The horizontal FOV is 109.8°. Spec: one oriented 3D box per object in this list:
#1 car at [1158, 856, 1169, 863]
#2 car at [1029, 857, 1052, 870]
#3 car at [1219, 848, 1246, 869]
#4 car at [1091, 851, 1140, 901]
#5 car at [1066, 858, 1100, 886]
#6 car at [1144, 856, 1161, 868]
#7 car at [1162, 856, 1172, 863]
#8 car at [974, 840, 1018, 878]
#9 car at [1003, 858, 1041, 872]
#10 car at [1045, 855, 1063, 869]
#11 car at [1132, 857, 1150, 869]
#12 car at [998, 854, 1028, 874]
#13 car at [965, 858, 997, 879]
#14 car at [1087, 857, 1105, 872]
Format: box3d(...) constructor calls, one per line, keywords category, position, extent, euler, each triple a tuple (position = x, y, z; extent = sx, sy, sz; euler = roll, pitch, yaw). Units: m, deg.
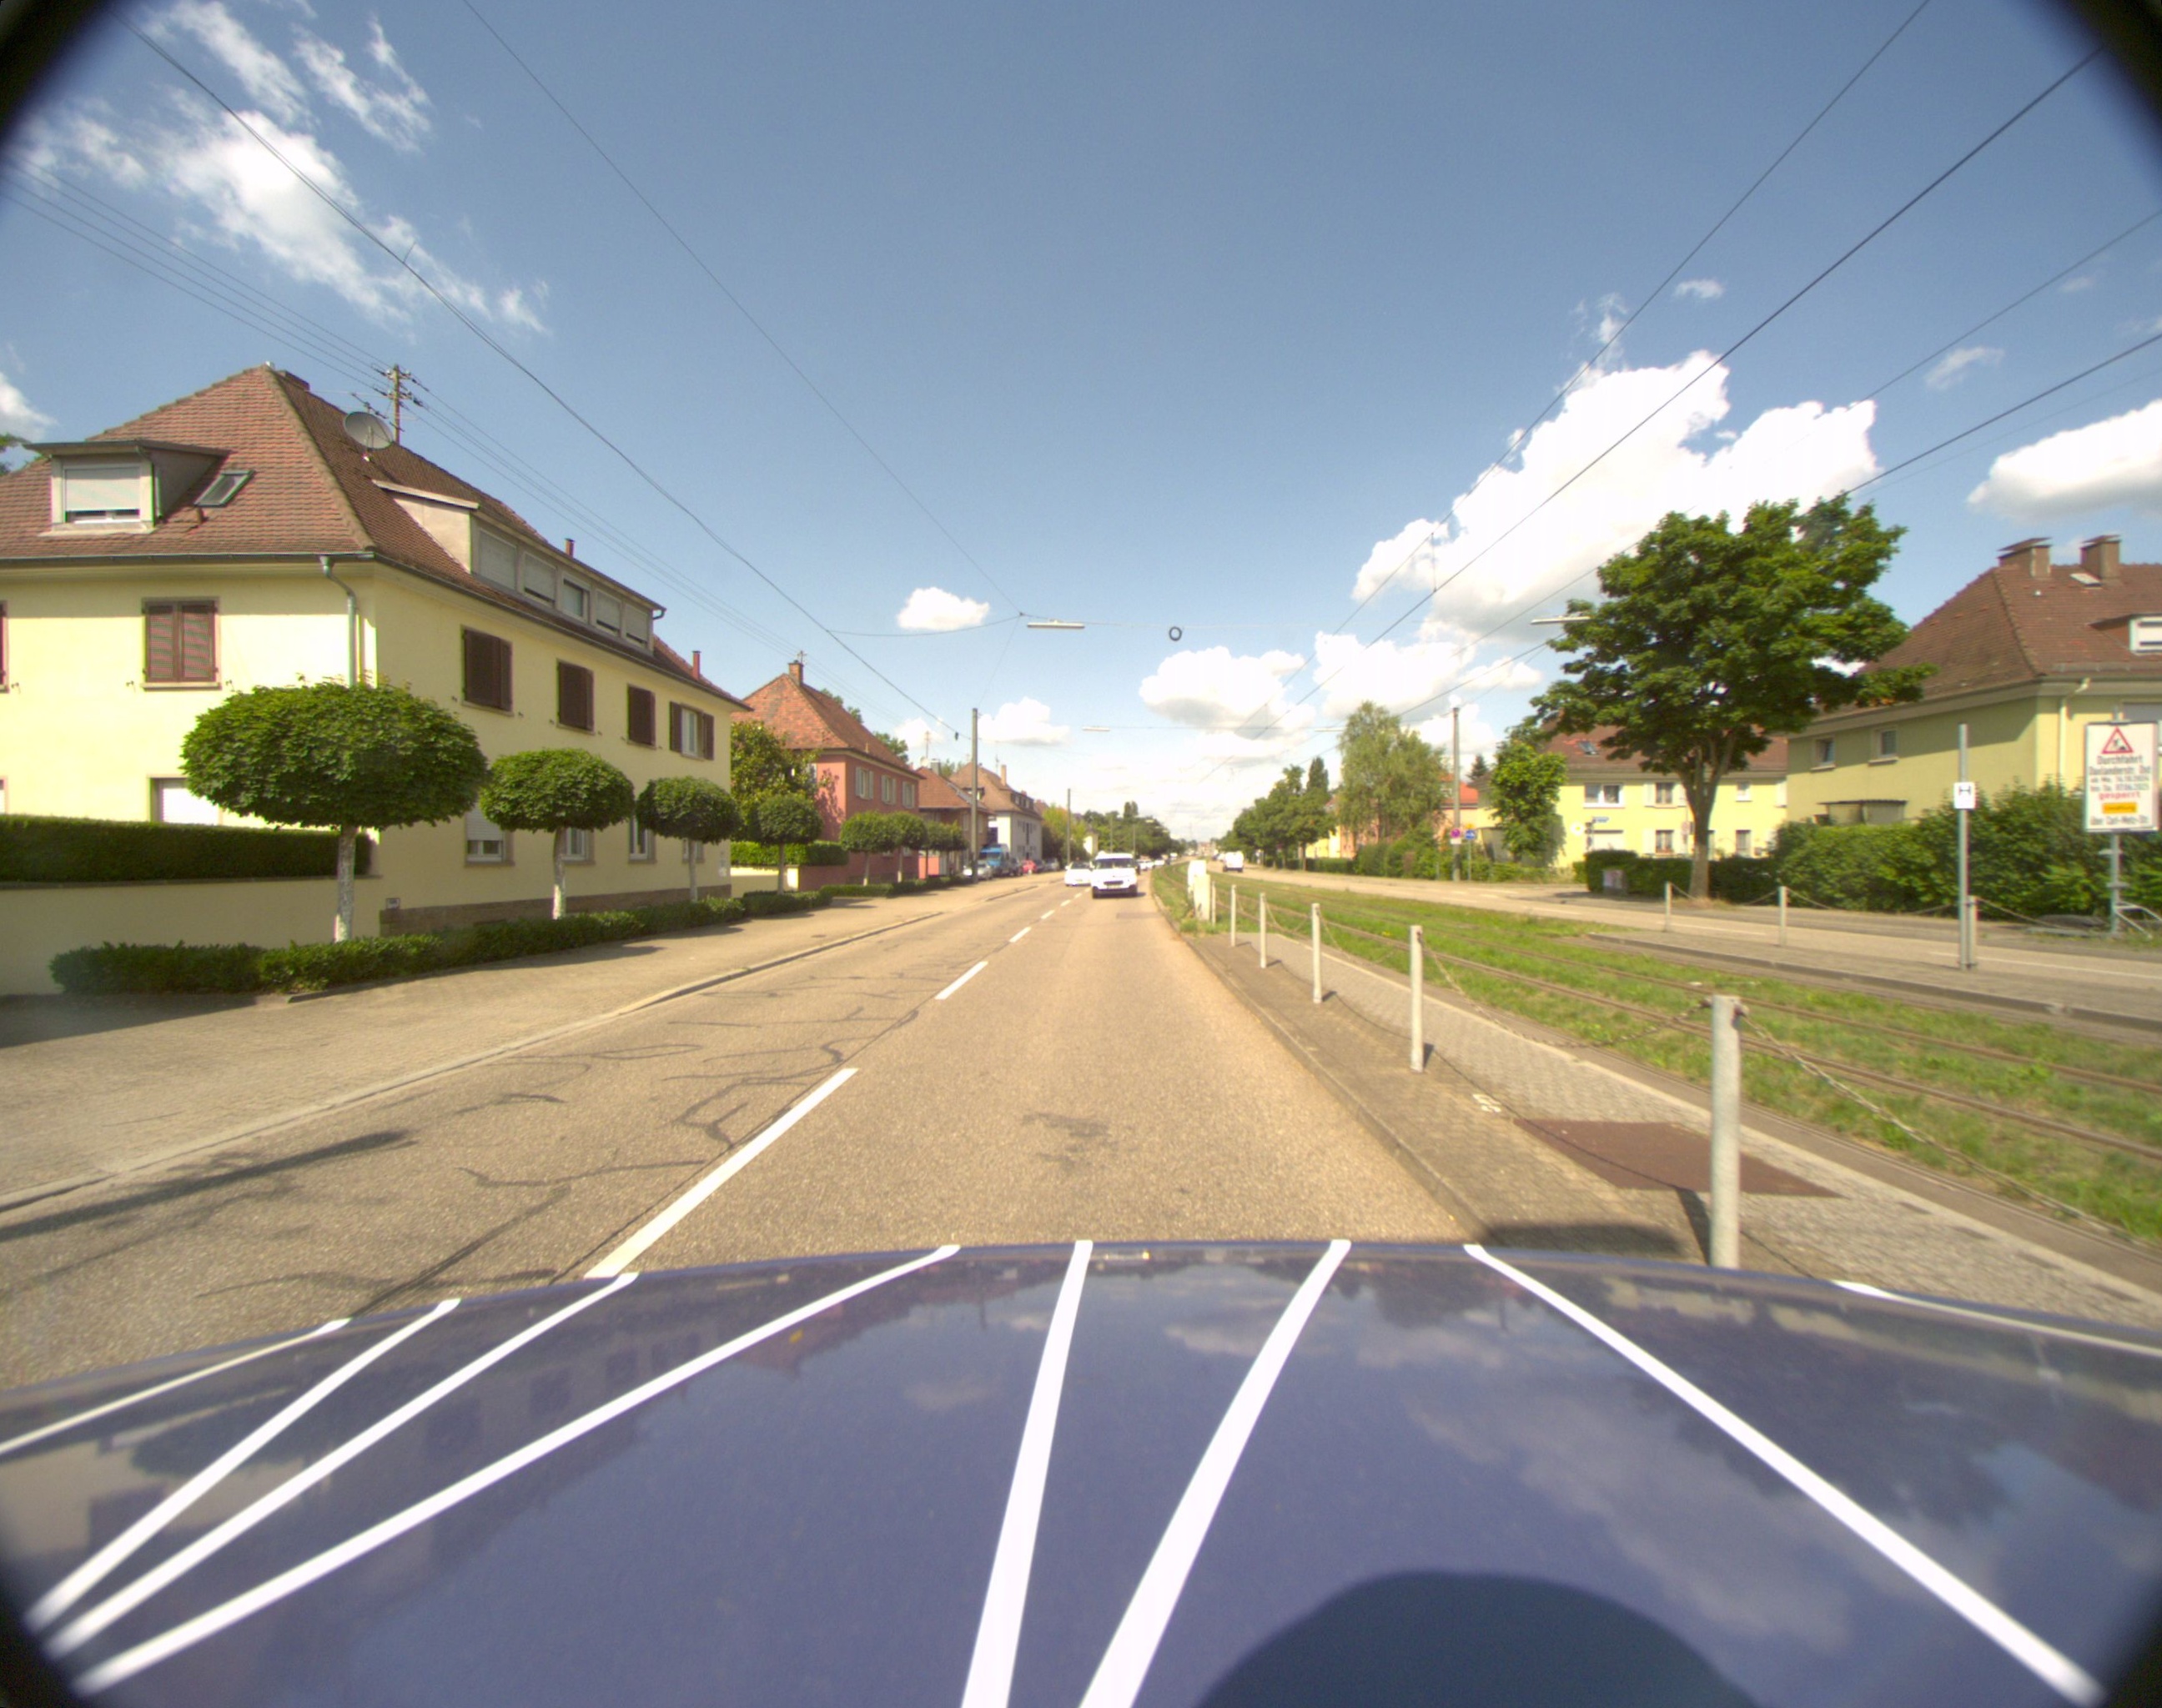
box3d(category="car", position=(16.755, 1.117, 154.330), extent=(1.997, 1.477, 4.002), euler=(-2, 0, 8))
box3d(category="car", position=(-4.491, 1.054, 84.339), extent=(1.802, 1.415, 4.859), euler=(1, 0, 6))
box3d(category="car", position=(17.938, 0.483, 90.092), extent=(2.201, 2.358, 5.333), euler=(1, 1, 2))
box3d(category="car", position=(1.453, 0.820, 30.783), extent=(1.777, 1.850, 4.376), euler=(-1, 0, 4))
box3d(category="car", position=(0.148, 1.086, 46.921), extent=(1.777, 1.540, 4.001), euler=(-2, 0, 4))
box3d(category="car", position=(10.230, 1.174, 108.318), extent=(1.997, 1.576, 4.002), euler=(-2, 0, 9))
box3d(category="car", position=(19.282, 1.160, 170.711), extent=(1.997, 1.477, 4.002), euler=(-2, 0, 8))
box3d(category="car", position=(-6.861, 0.337, 62.161), extent=(2.156, 2.913, 6.246), euler=(-2, 0, 6))
box3d(category="car", position=(-6.093, 1.144, 78.687), extent=(3.657, 1.372, 1.727), euler=(-1, 1, 4))
box3d(category="car", position=(-3.323, 0.978, 94.240), extent=(1.760, 1.637, 4.770), euler=(1, 1, 4))
box3d(category="car", position=(7.595, 1.111, 96.068), extent=(1.997, 1.477, 4.002), euler=(-2, 0, 8))
box3d(category="car", position=(-6.051, 0.900, 68.370), extent=(1.840, 1.701, 4.866), euler=(1, 0, 5))
box3d(category="car", position=(-7.236, 1.053, 55.273), extent=(1.653, 1.401, 4.350), euler=(0, 1, 1))
box3d(category="car", position=(1.687, 1.107, 84.050), extent=(1.811, 1.550, 4.254), euler=(-2, 0, 4))
